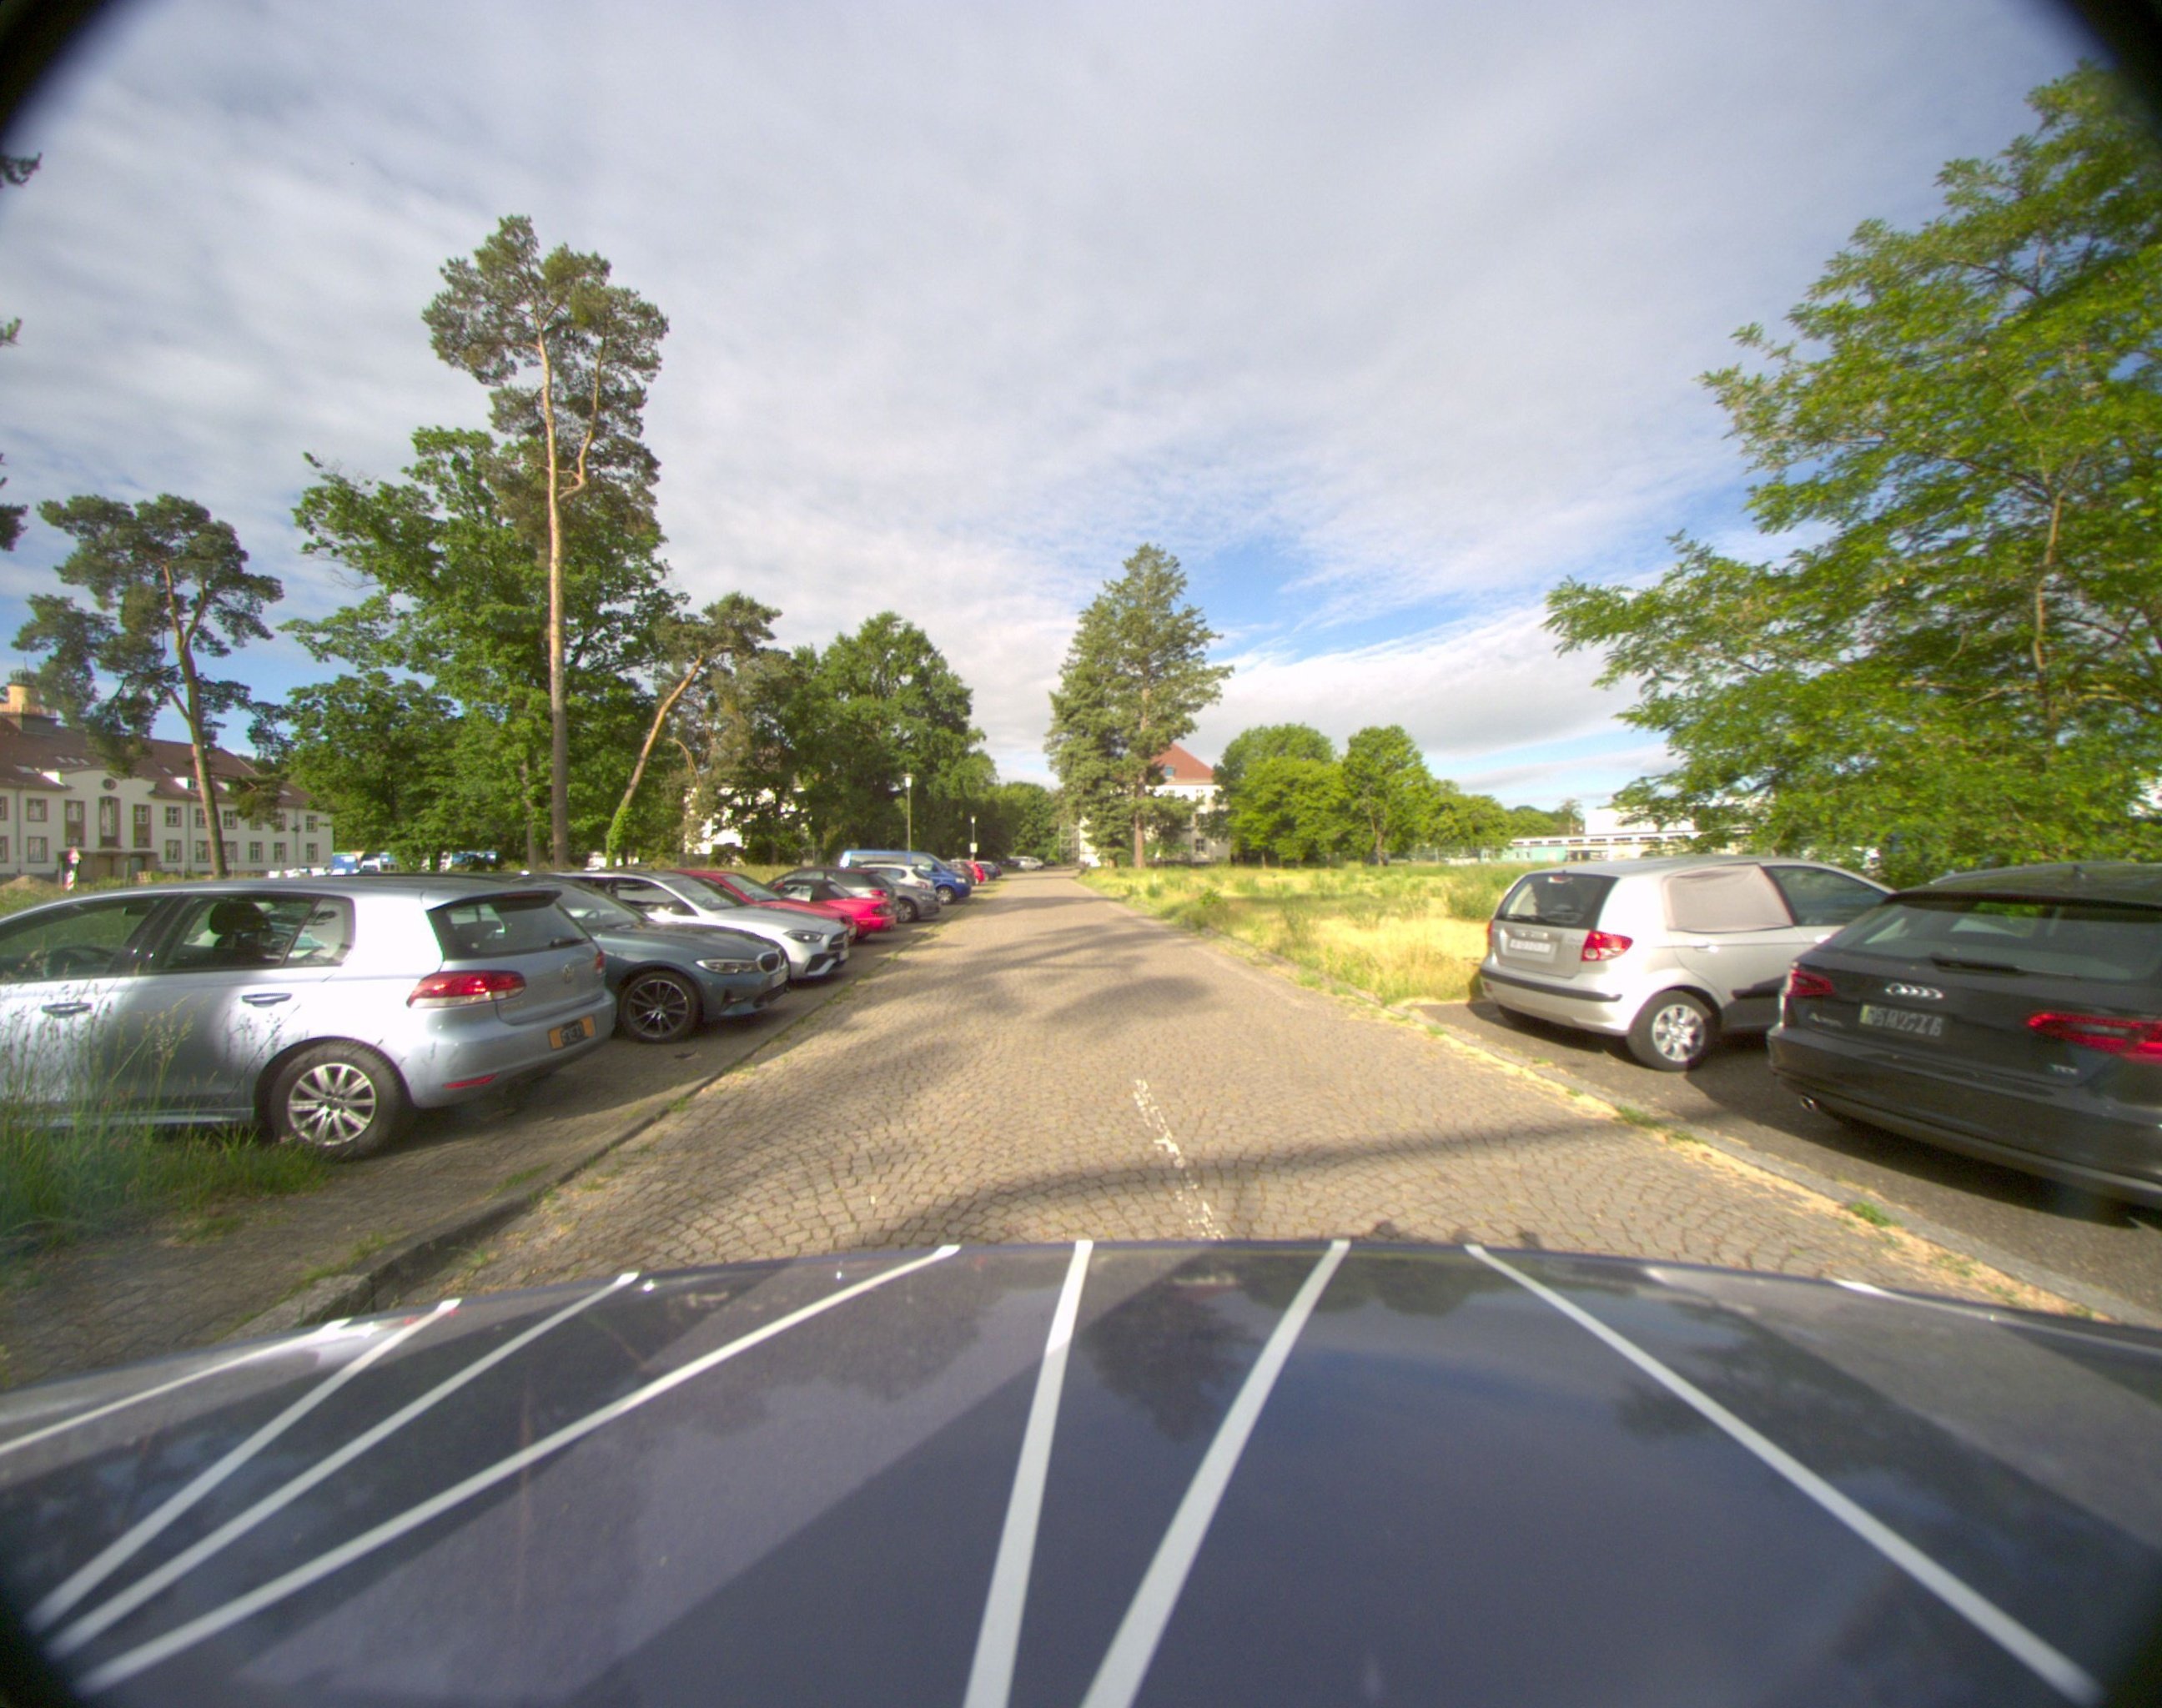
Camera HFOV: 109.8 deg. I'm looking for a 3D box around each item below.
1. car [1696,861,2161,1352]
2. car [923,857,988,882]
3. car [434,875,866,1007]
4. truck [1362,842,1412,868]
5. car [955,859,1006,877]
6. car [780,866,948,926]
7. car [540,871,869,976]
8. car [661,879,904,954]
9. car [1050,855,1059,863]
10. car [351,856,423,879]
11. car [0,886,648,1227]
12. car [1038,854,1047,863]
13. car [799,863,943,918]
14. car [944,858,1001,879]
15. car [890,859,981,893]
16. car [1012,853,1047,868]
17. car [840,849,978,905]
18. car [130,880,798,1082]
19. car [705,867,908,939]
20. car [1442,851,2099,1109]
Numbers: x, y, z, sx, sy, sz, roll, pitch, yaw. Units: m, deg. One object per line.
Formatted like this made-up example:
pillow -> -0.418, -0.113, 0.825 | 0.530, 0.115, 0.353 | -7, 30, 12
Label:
car -> 5.405, 0.822, 3.423 | 3.840, 1.421, 1.858 | -3, 1, -5
car -> -7.767, 0.968, 47.371 | 3.888, 1.464, 1.686 | 0, 1, -5
car -> -5.311, 1.039, 9.916 | 4.520, 1.465, 1.848 | 0, 1, -4
truck -> 32.602, 0.101, 81.130 | 2.418, 2.572, 6.957 | -1, 0, -1
car -> -8.212, 1.166, 62.356 | 4.036, 1.442, 1.783 | 0, 1, -2
car -> -5.622, 1.072, 20.124 | 3.962, 1.459, 1.830 | 0, 1, -3
car -> -5.798, 1.044, 12.158 | 4.353, 1.465, 1.739 | 0, 1, -4
car -> -5.560, 1.148, 14.557 | 3.962, 1.253, 1.726 | 0, 1, -3
car -> -6.307, 1.100, 177.954 | 1.999, 1.762, 4.107 | -1, 1, -4
car -> -73.306, 1.401, 80.425 | 2.167, 2.286, 5.960 | 0, 0, -1
car -> -5.420, 0.996, 4.494 | 4.557, 1.497, 1.932 | 0, 1, -6
car -> -9.017, 1.077, 177.555 | 1.875, 1.888, 3.998 | -1, 1, -4
car -> -6.254, 1.068, 22.946 | 3.885, 1.521, 1.807 | 0, 1, -3
car -> -8.210, 1.075, 57.649 | 4.137, 1.560, 1.745 | 0, 1, -4
car -> -7.042, 1.041, 37.140 | 4.203, 1.580, 1.877 | 0, 1, -5
car -> -7.583, 0.951, 111.434 | 5.080, 2.029, 1.999 | -1, 0, -4
car -> -6.296, 0.817, 28.301 | 4.747, 1.917, 1.991 | 1, 1, -5
car -> -5.239, 1.025, 7.136 | 4.521, 1.465, 1.893 | 0, 1, -8
car -> -6.073, 1.056, 17.166 | 3.962, 1.486, 1.771 | 0, 1, -3
car -> 5.195, 0.826, 6.069 | 3.694, 1.465, 1.848 | -3, 1, -5
